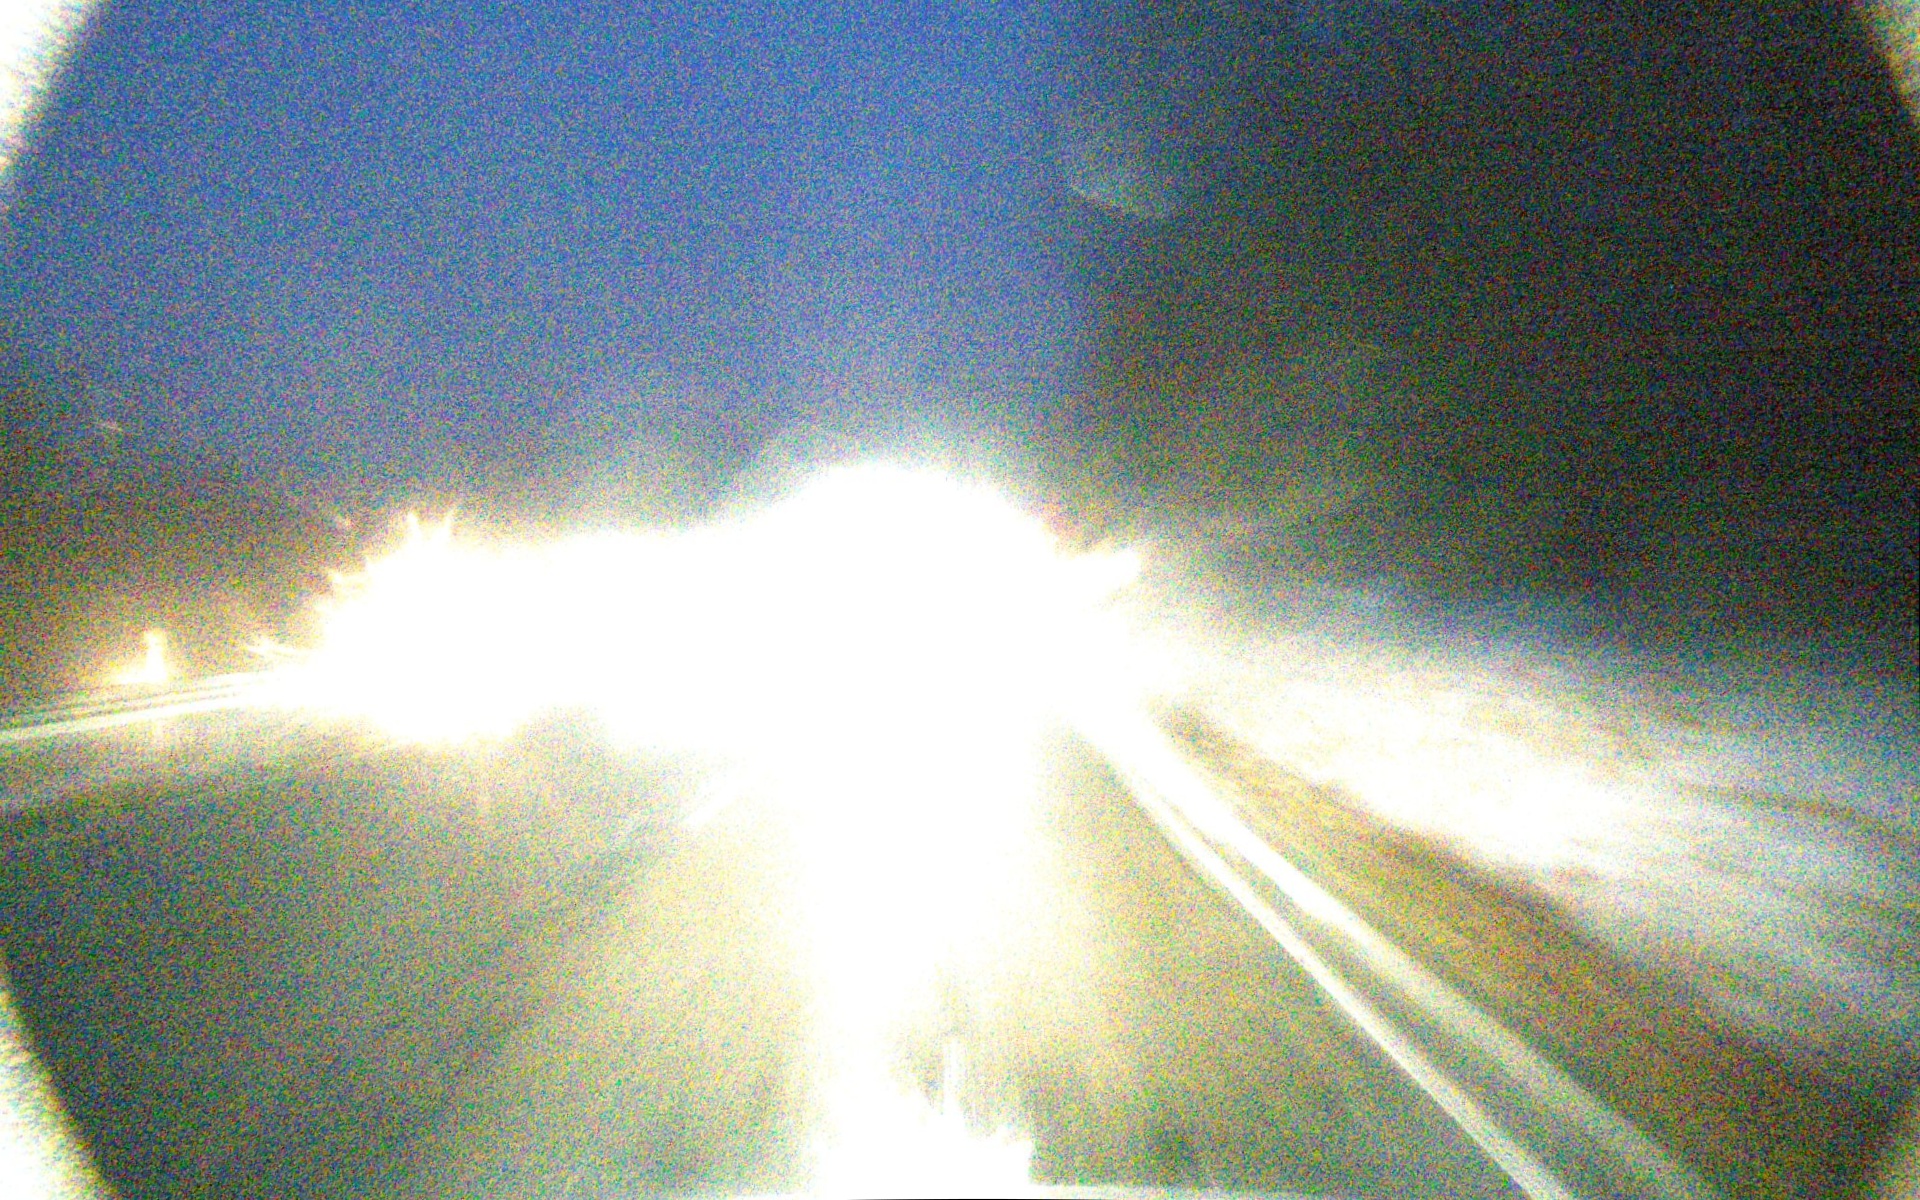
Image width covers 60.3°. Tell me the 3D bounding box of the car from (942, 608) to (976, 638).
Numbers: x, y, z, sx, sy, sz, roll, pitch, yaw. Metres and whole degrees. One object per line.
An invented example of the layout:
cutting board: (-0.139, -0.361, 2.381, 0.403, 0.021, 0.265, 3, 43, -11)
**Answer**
car: (-0.039, 1.325, 96.909, 1.743, 1.696, 4.473, 0, 0, 3)

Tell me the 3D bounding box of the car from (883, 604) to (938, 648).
car: (-1.683, 0.861, 57.069, 1.704, 1.427, 3.861, 0, 0, 1)
